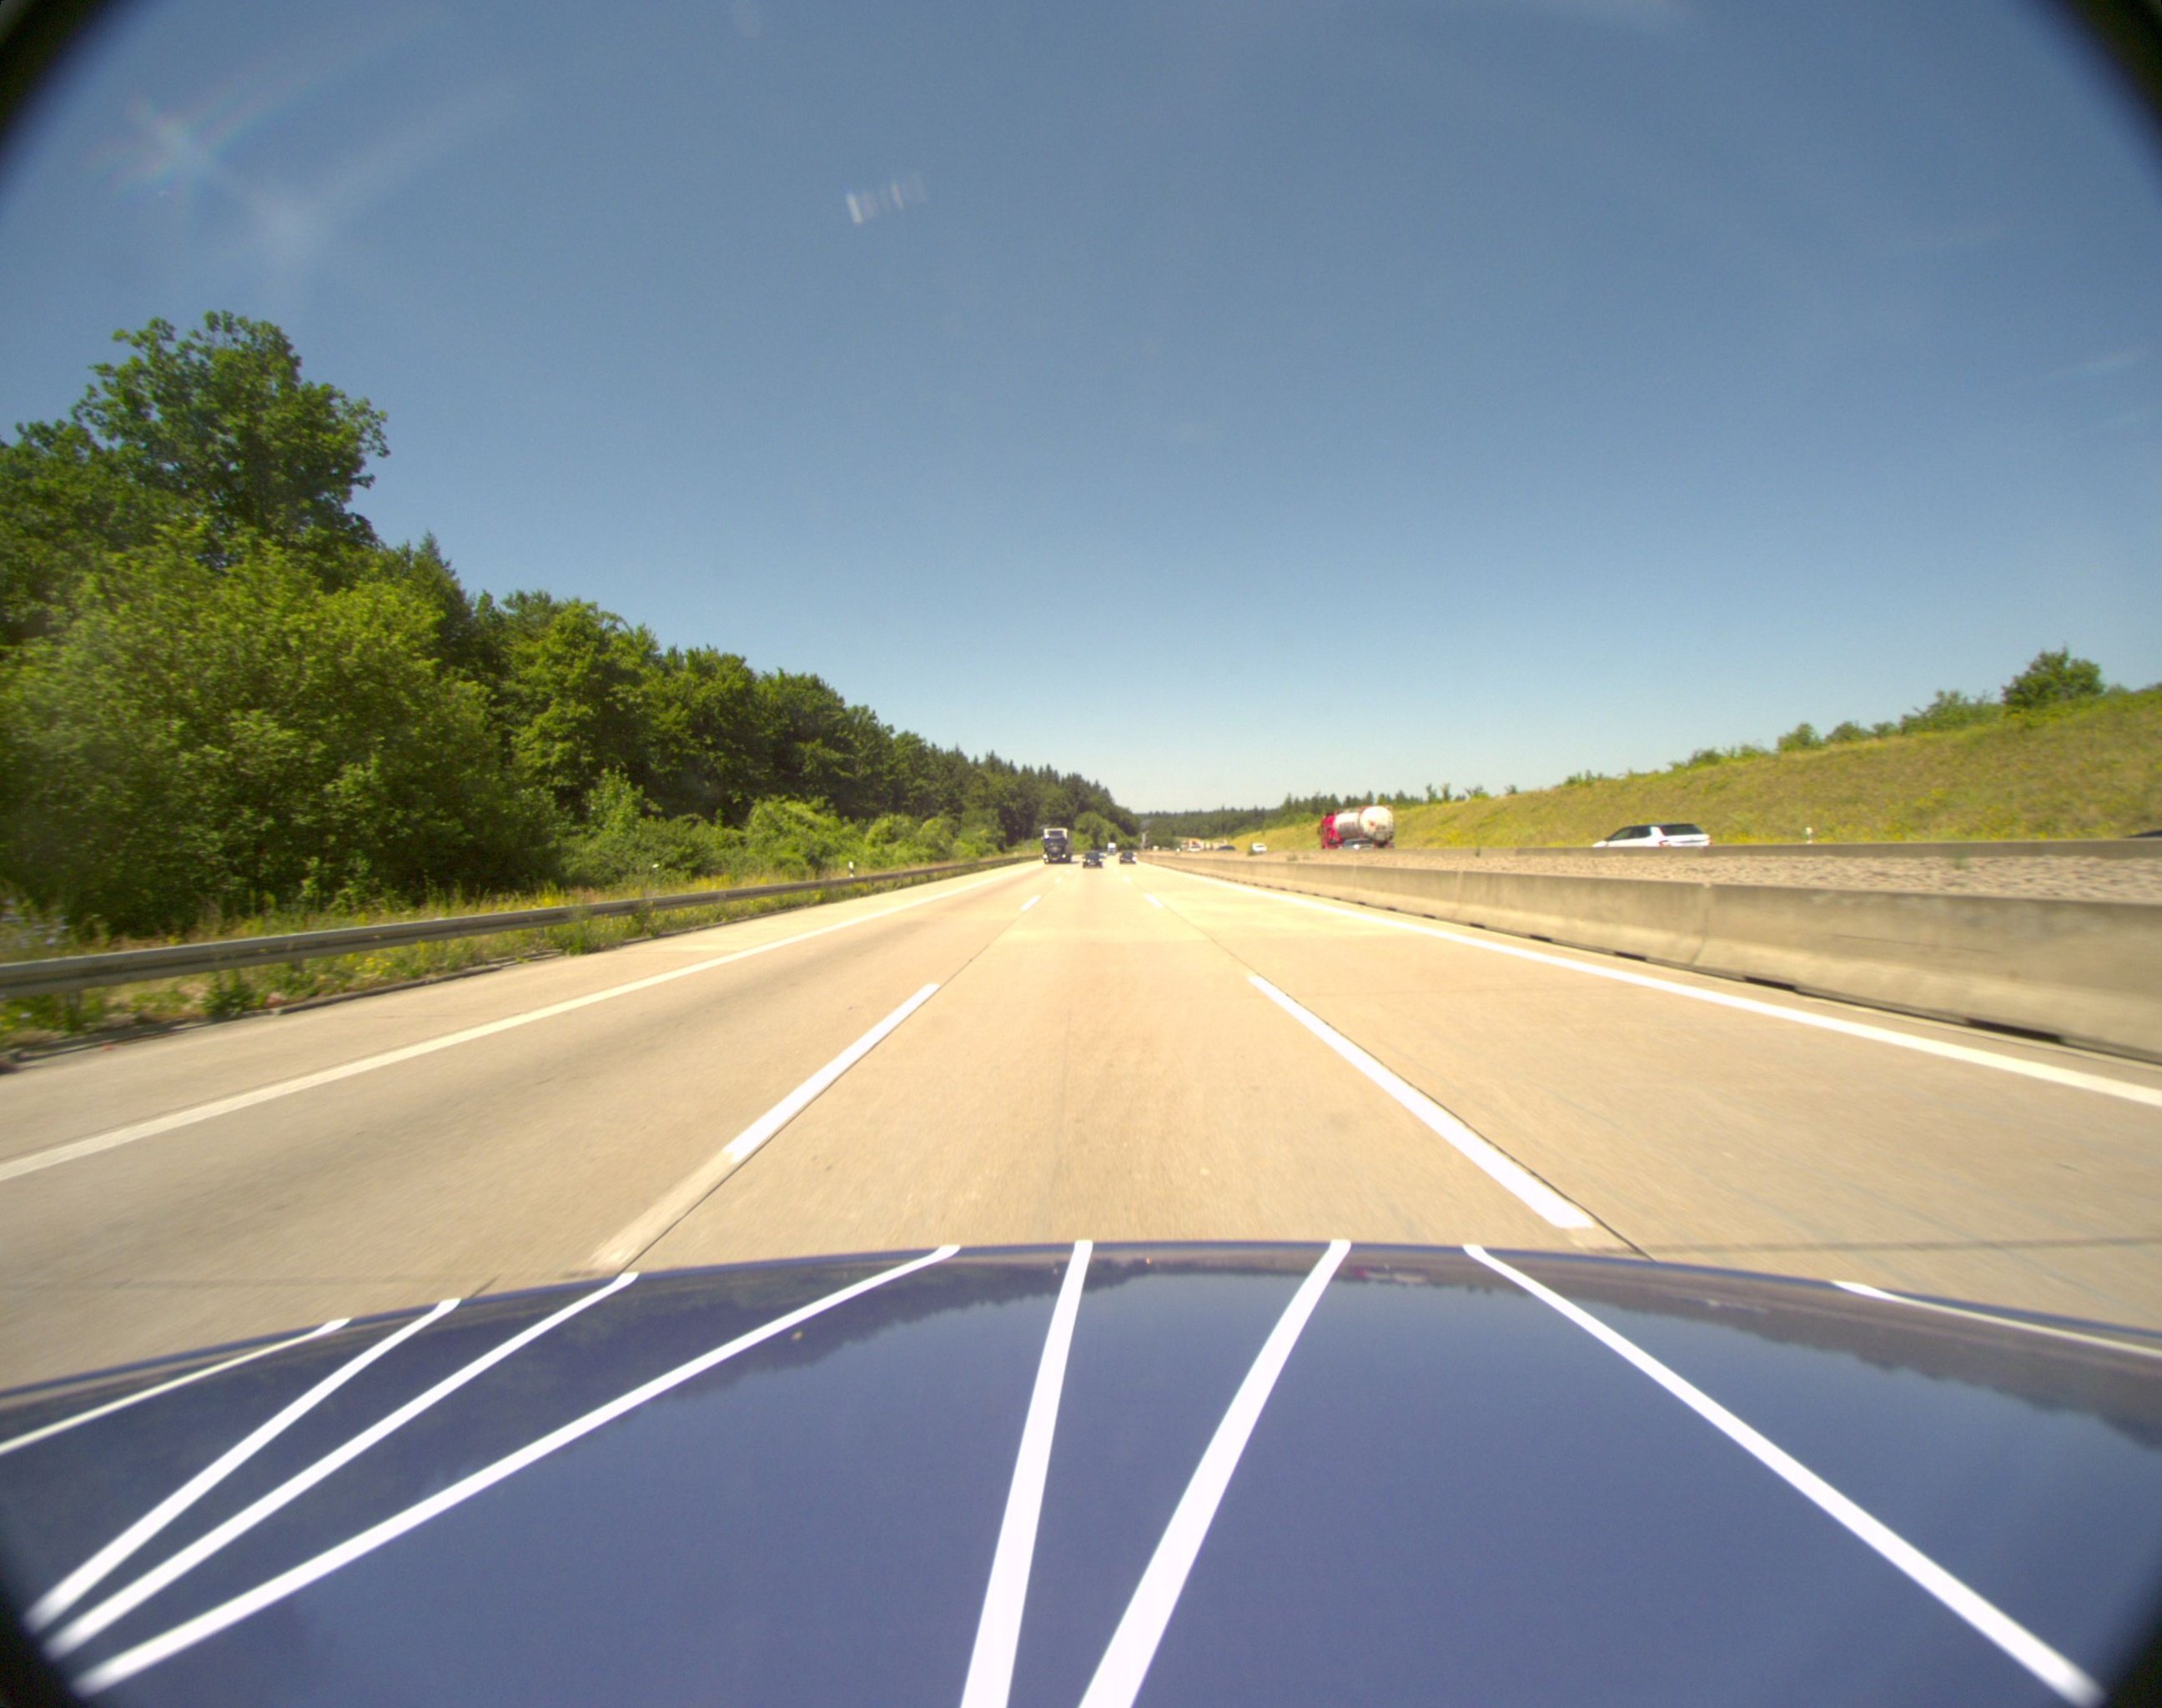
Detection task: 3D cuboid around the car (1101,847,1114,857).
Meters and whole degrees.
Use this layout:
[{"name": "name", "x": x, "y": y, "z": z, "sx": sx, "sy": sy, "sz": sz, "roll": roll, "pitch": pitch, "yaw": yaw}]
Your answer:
[{"name": "car", "x": 4.679, "y": -0.366, "z": 131.974, "sx": 1.998, "sy": 1.694, "sz": 4.400, "roll": -3, "pitch": 1, "yaw": 4}]

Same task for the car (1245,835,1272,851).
[{"name": "car", "x": 19.154, "y": -1.190, "z": 82.283, "sx": 1.998, "sy": 1.574, "sz": 4.179, "roll": -2, "pitch": 1, "yaw": 1}]

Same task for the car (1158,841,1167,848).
[{"name": "car", "x": 21.991, "y": -2.607, "z": 205.506, "sx": 1.998, "sy": 2.002, "sz": 4.459, "roll": 0, "pitch": 1, "yaw": 0}]

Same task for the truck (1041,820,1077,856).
[{"name": "truck", "x": -2.497, "y": -1.870, "z": 90.847, "sx": 3.166, "sy": 3.994, "sz": 10.609, "roll": 0, "pitch": 1, "yaw": 4}]

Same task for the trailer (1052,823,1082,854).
[{"name": "trailer", "x": -1.745, "y": -2.032, "z": 100.676, "sx": 3.141, "sy": 3.994, "sz": 9.089, "roll": 0, "pitch": 1, "yaw": 5}]

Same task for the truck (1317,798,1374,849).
[{"name": "truck", "x": 23.108, "y": -2.580, "z": 66.742, "sx": 2.940, "sy": 4.145, "sz": 5.981, "roll": -2, "pitch": 1, "yaw": 1}]

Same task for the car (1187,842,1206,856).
[{"name": "car", "x": 16.395, "y": -0.701, "z": 107.771, "sx": 1.998, "sy": 1.862, "sz": 4.968, "roll": -2, "pitch": 1, "yaw": 1}]

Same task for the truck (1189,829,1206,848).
[{"name": "truck", "x": 28.406, "y": -3.867, "z": 185.956, "sx": 2.921, "sy": 4.487, "sz": 11.258, "roll": 0, "pitch": 1, "yaw": 2}]

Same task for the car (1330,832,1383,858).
[{"name": "car", "x": 18.211, "y": -0.586, "z": 50.425, "sx": 1.998, "sy": 1.574, "sz": 4.430, "roll": -2, "pitch": 1, "yaw": 1}]

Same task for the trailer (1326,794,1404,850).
[{"name": "trailer", "x": 23.007, "y": -2.506, "z": 62.250, "sx": 2.940, "sy": 4.145, "sz": 9.333, "roll": -2, "pitch": 1, "yaw": 1}]

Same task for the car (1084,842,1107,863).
[{"name": "car", "x": 1.327, "y": -0.163, "z": 68.853, "sx": 1.930, "sy": 1.694, "sz": 4.400, "roll": -3, "pitch": 1, "yaw": 2}]

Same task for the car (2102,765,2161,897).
[{"name": "car", "x": 13.891, "y": -0.284, "z": 7.415, "sx": 1.998, "sy": 1.574, "sz": 4.402, "roll": -2, "pitch": 1, "yaw": 1}]

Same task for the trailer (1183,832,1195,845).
[{"name": "trailer", "x": 35.145, "y": -5.039, "z": 247.821, "sx": 2.940, "sy": 4.145, "sz": 13.191, "roll": -2, "pitch": 1, "yaw": 4}]

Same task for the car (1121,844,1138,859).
[{"name": "car", "x": 5.519, "y": -0.274, "z": 86.453, "sx": 1.842, "sy": 1.547, "sz": 4.000, "roll": -2, "pitch": 1, "yaw": 4}]

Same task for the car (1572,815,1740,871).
[{"name": "car", "x": 18.218, "y": -0.353, "z": 24.403, "sx": 1.998, "sy": 1.574, "sz": 4.529, "roll": -2, "pitch": 1, "yaw": 1}]
